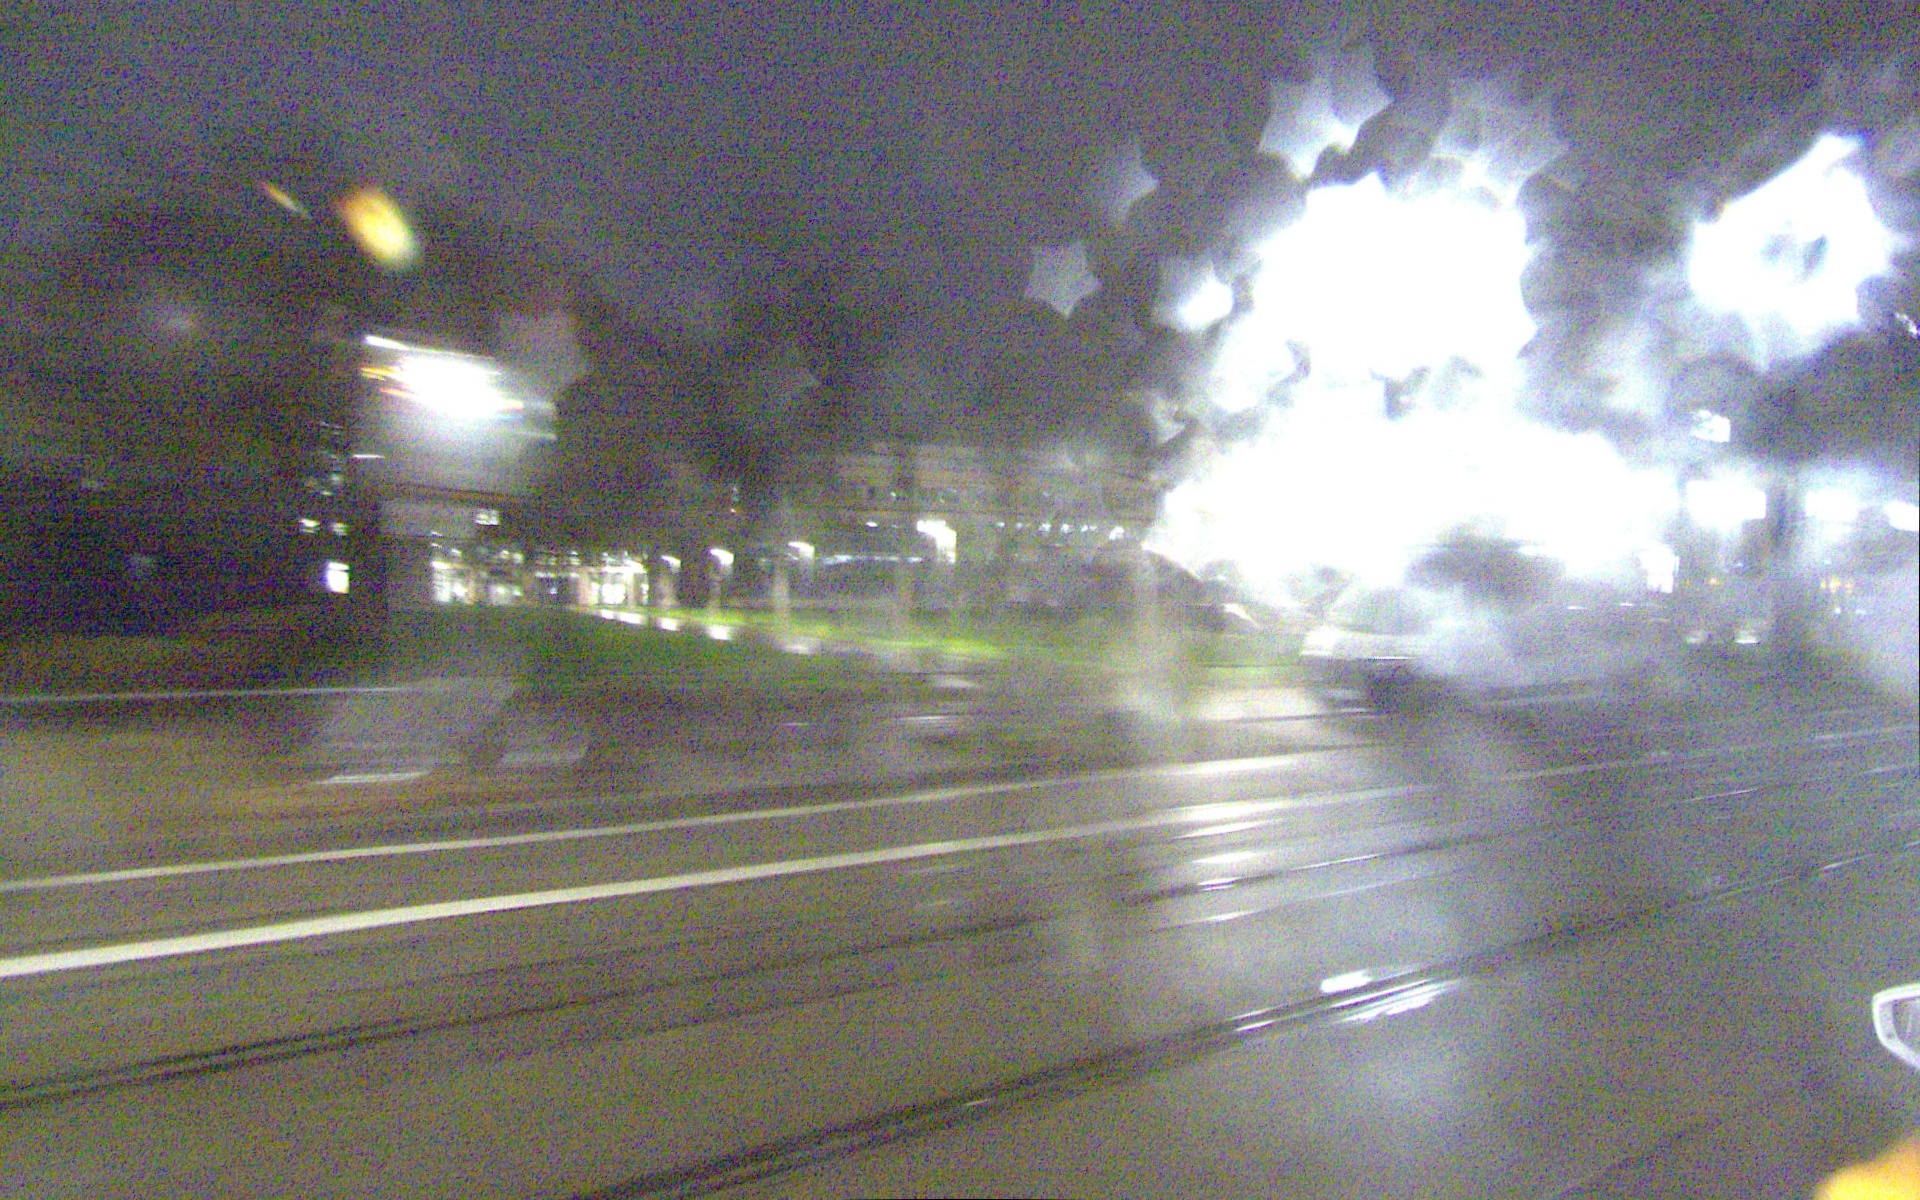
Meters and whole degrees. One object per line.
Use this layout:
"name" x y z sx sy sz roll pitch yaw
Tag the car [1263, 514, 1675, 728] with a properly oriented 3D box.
"car" 7.600 0.277 14.788 6.311 2.626 2.176 1 0 -28
